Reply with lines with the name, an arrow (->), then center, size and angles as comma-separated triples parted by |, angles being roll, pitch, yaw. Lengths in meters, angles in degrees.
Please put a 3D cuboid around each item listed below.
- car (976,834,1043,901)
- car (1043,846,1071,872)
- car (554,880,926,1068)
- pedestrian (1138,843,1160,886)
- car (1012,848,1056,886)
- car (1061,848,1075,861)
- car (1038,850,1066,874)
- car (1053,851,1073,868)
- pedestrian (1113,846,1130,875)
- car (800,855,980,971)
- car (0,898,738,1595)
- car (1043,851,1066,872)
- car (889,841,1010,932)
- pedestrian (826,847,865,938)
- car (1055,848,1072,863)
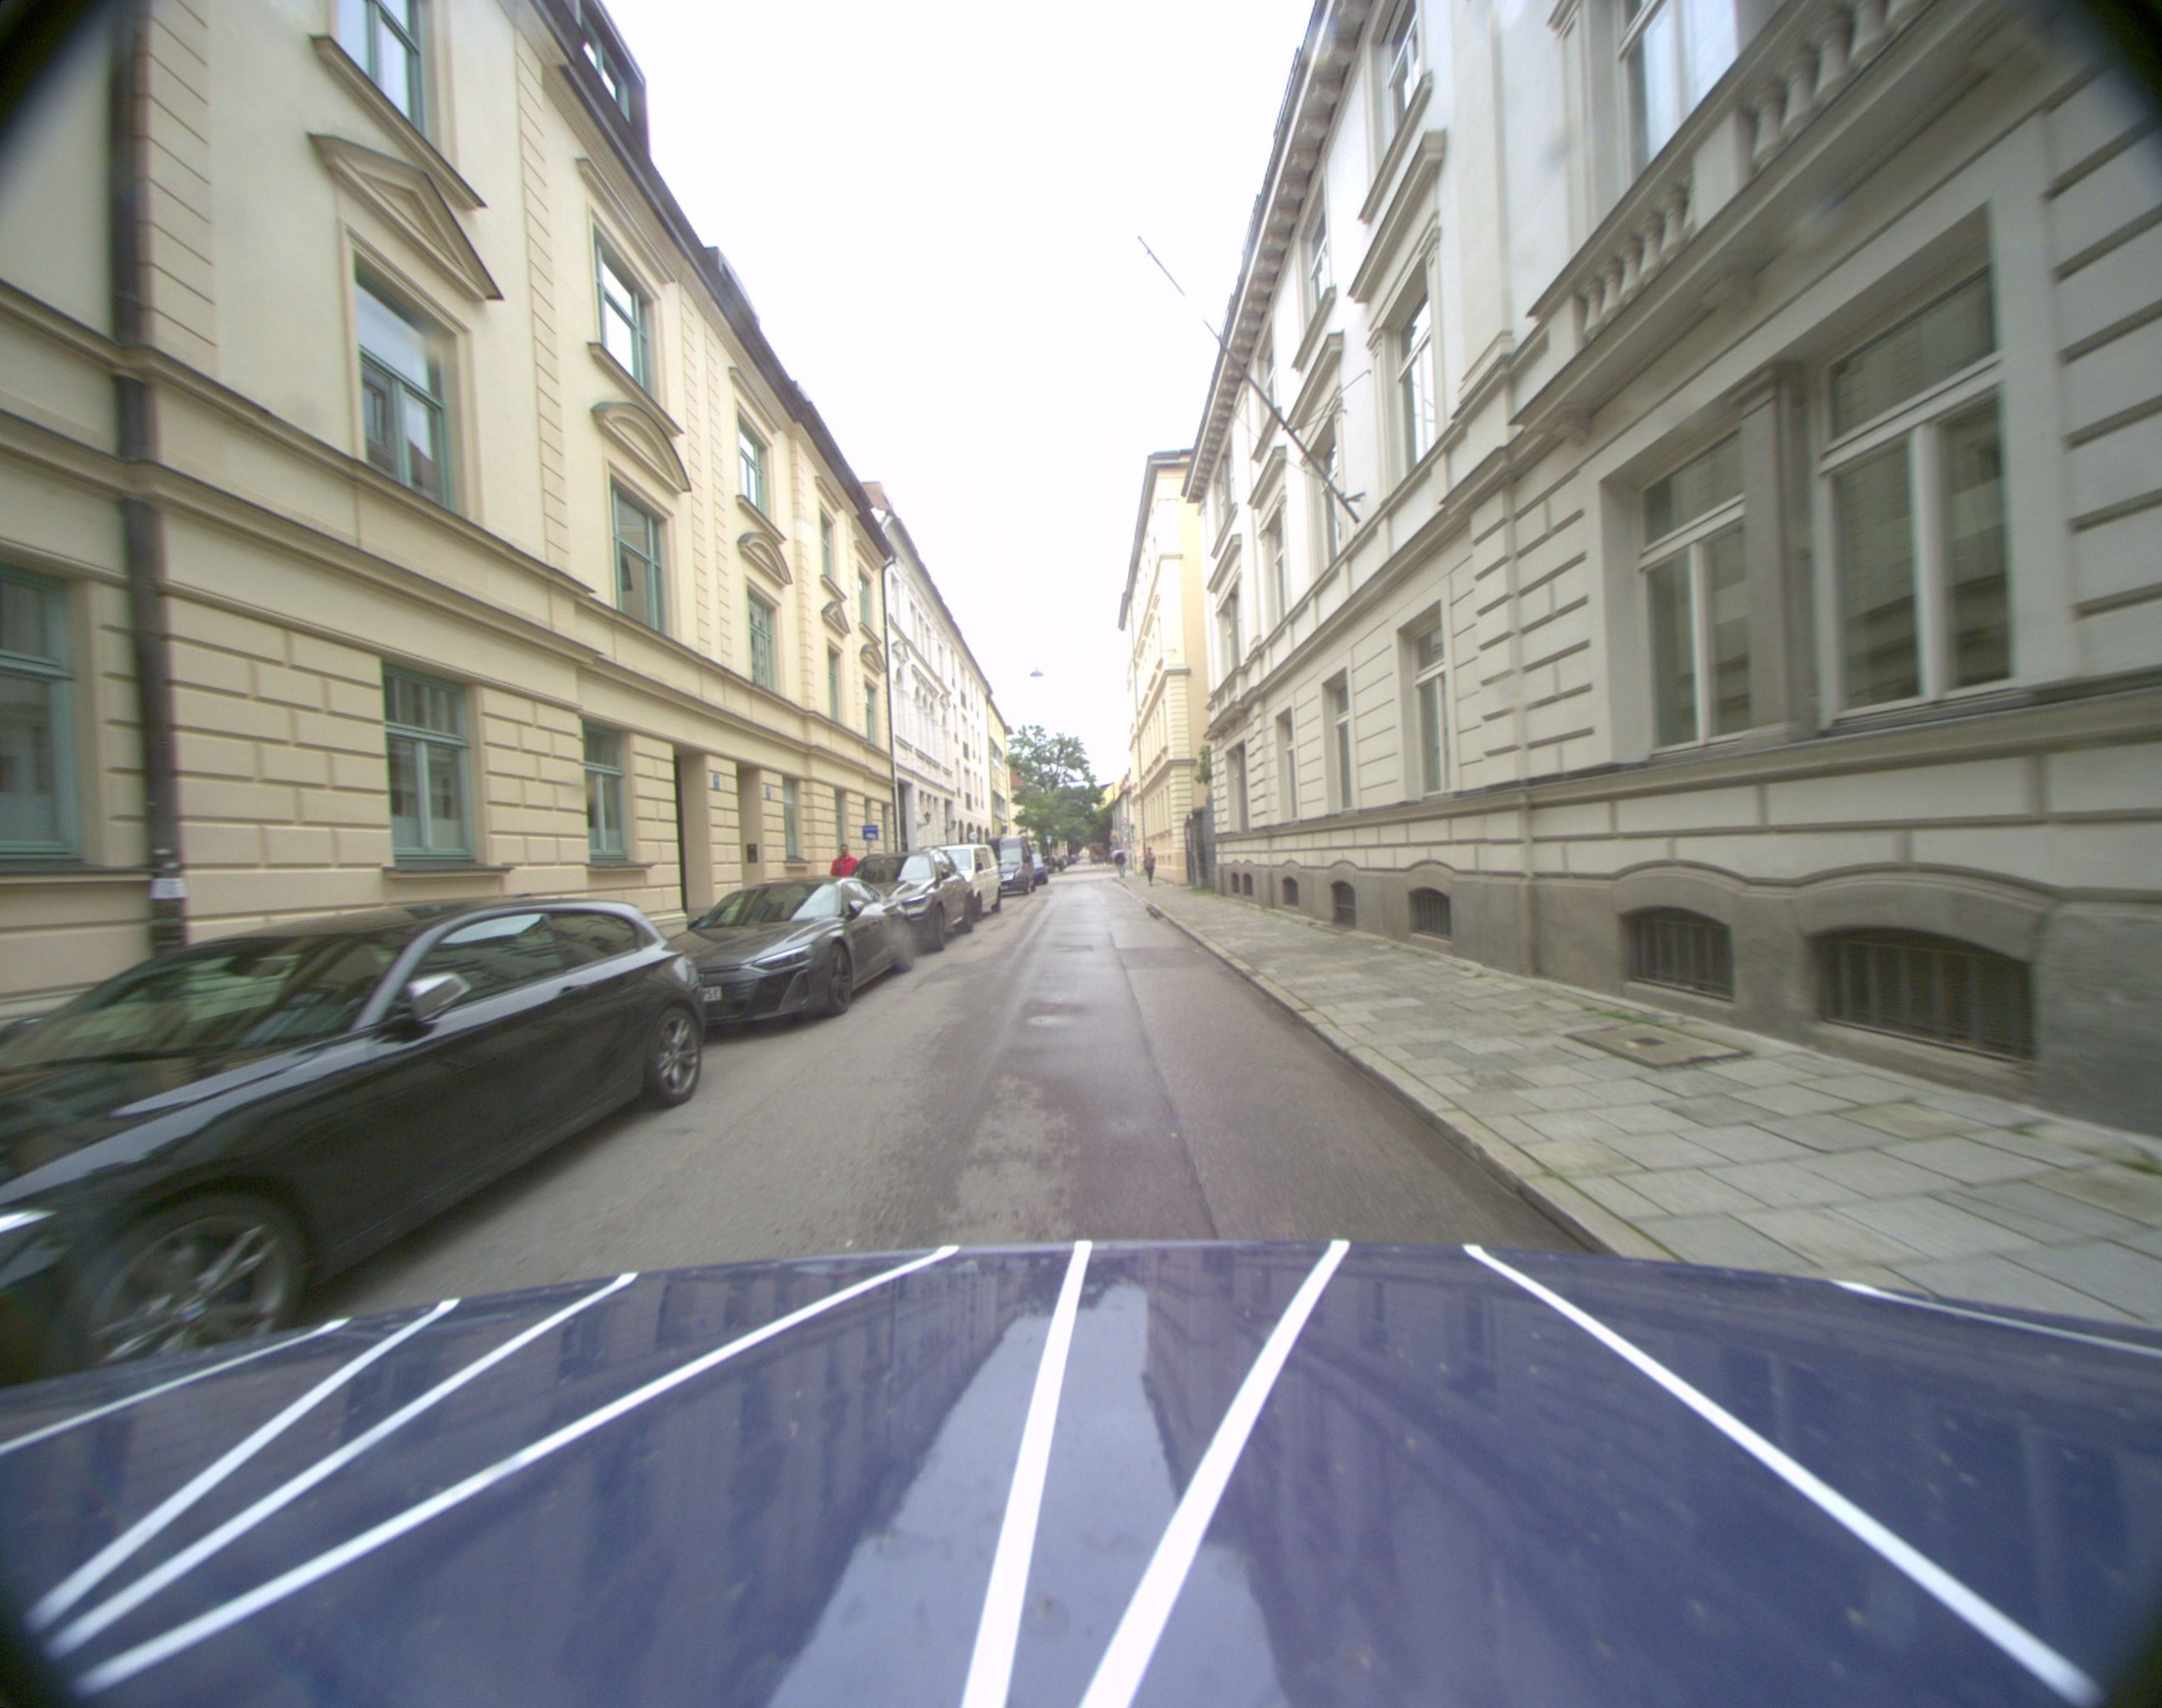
car -> -3.017, 0.516, 33.049 | 2.014, 2.479, 5.090 | -7, 0, 2
car -> -2.363, 0.450, 76.081 | 2.242, 2.247, 5.090 | -7, 0, 2
car -> -3.306, 1.076, 8.612 | 1.998, 1.306, 4.593 | -3, 0, 1
pedestrian -> 2.877, 0.436, 32.342 | 0.766, 1.742, 0.970 | -3, 1, 0
car -> -2.794, 0.735, 46.469 | 2.014, 1.989, 5.090 | -7, 0, 2
car -> -2.186, 0.150, 130.566 | 2.014, 1.969, 5.090 | -7, 0, 2
car -> -2.646, 0.673, 69.616 | 2.014, 1.914, 5.090 | -7, 0, 2
car -> -2.314, 0.720, 99.153 | 2.014, 1.969, 5.090 | -7, 0, 2
pedestrian -> 2.510, 0.410, 47.352 | 0.920, 1.742, 1.066 | -3, 1, 0
car -> -3.228, 0.910, 13.926 | 1.998, 1.677, 4.510 | -3, 0, 1
car -> -3.516, 1.108, 3.395 | 1.860, 1.366, 4.509 | -5, 1, -1
car -> -2.908, 0.814, 84.049 | 2.014, 1.969, 5.090 | -7, 0, 2
car -> -3.251, 0.743, 19.945 | 1.998, 2.002, 5.064 | -3, 0, 3
pedestrian -> -5.207, 0.836, 16.827 | 0.581, 1.966, 0.455 | -4, 1, 0
car -> -2.523, 0.215, 110.288 | 2.014, 1.969, 5.090 | -7, 0, 2
